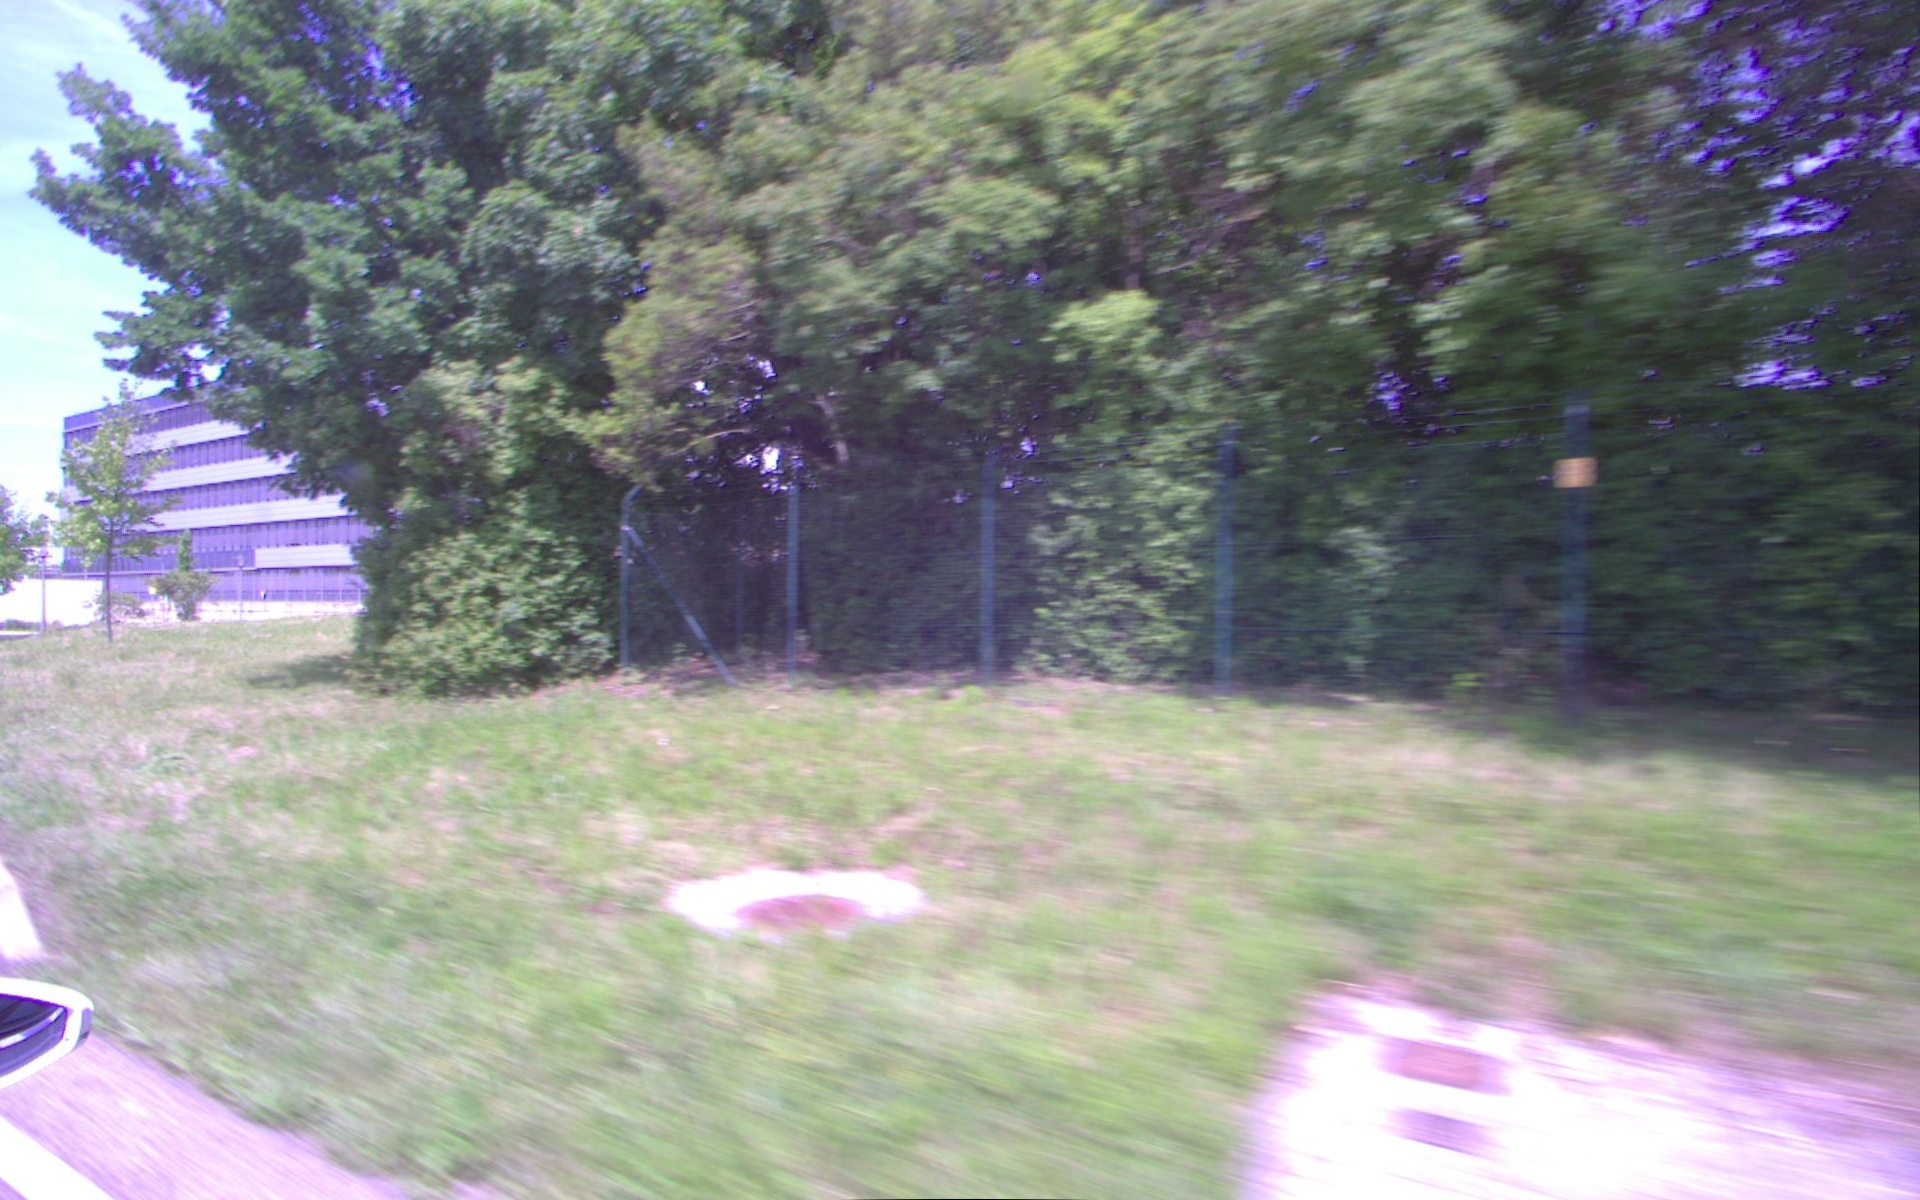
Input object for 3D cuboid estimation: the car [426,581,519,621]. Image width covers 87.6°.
[{"bbox_3d":[-25.002,0.039,51.516,1.729,1.839,3.980,-1,2,29],"label":"car"}]
